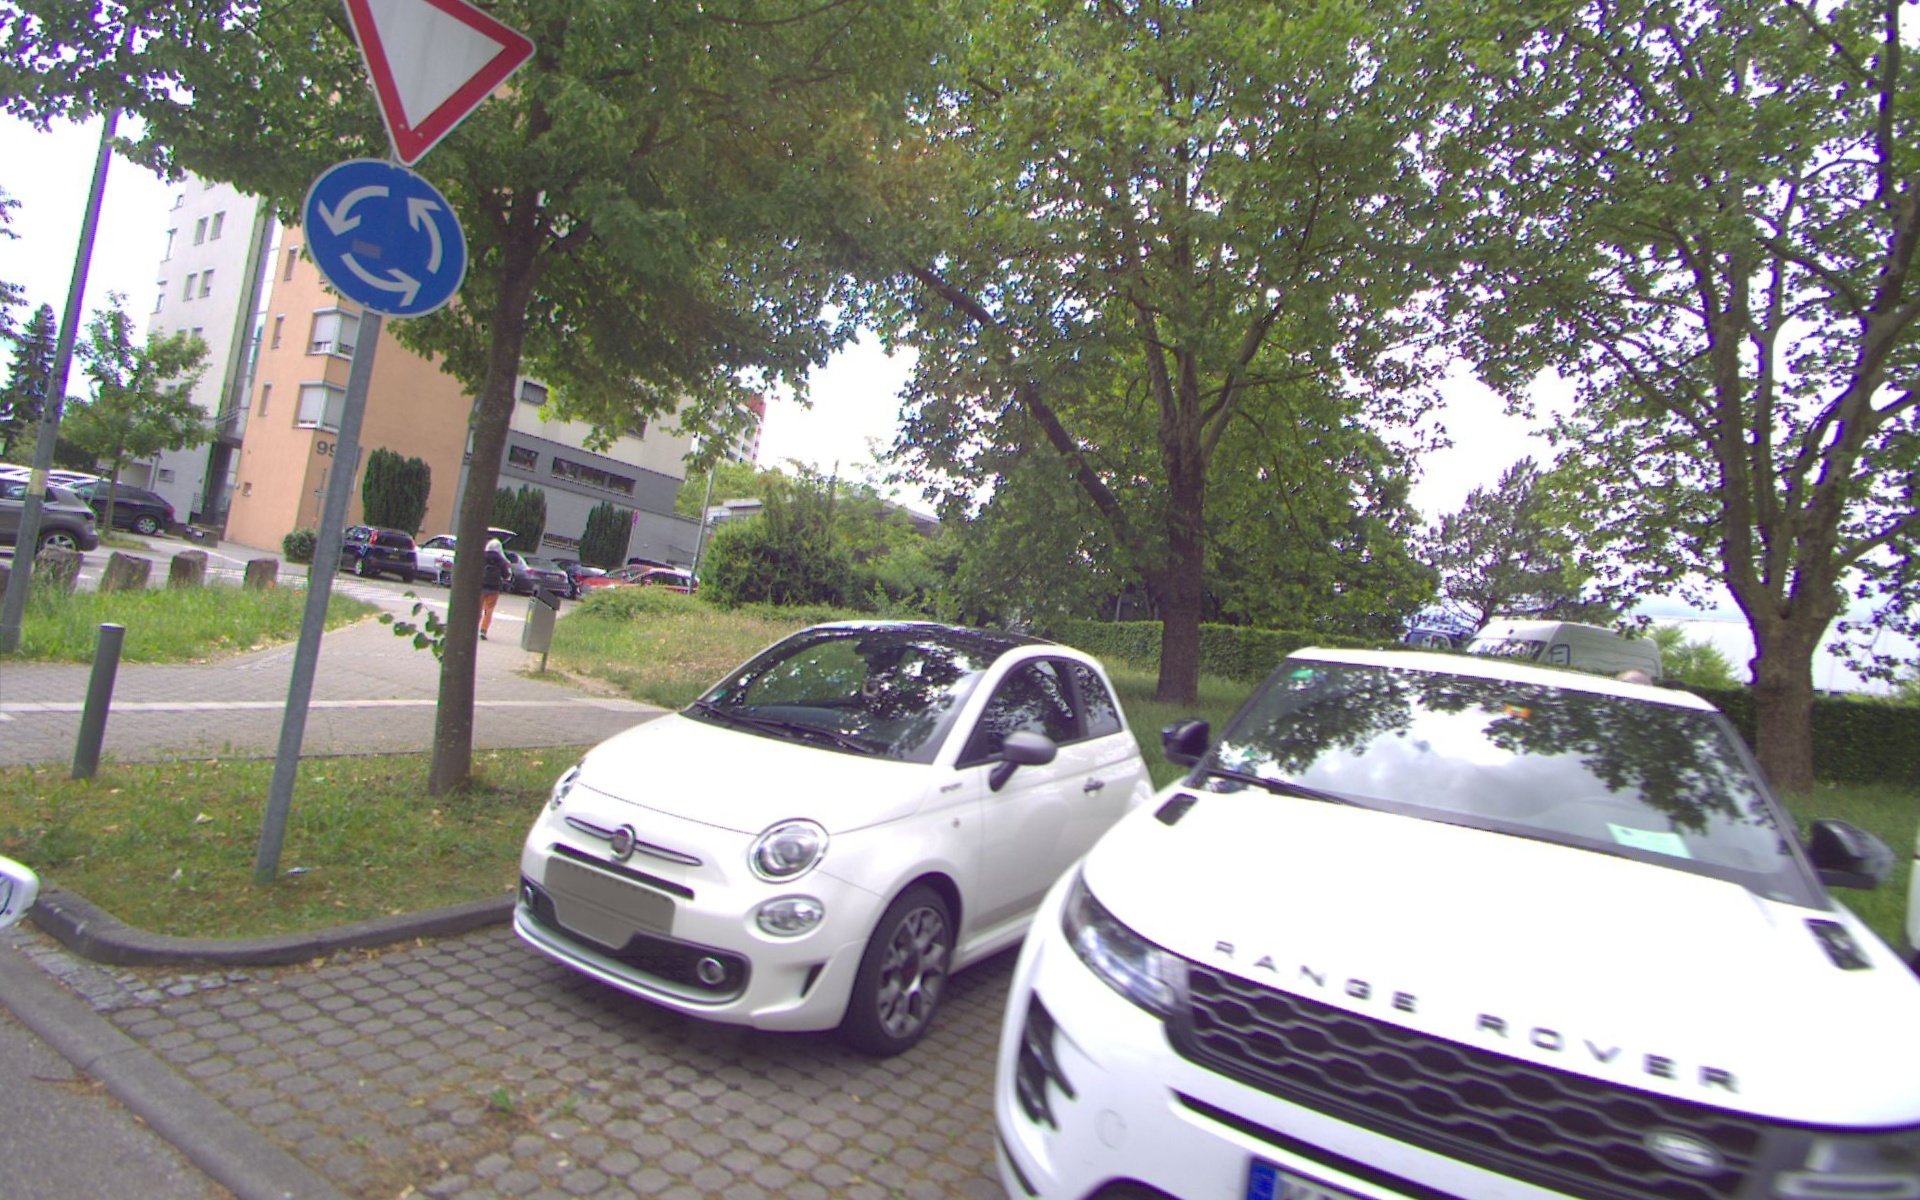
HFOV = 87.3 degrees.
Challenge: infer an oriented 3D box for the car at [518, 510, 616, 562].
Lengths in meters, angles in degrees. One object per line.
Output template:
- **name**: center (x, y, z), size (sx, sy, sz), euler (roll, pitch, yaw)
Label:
- **car**: center (-14.777, -2.417, 37.747), size (3.720, 1.500, 1.636), euler (7, 0, 38)

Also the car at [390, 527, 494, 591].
- **car**: center (-17.430, -1.391, 33.797), size (3.720, 1.679, 1.568), euler (7, 0, 38)

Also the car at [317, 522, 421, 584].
- **car**: center (-18.395, -1.477, 31.285), size (3.473, 1.494, 1.500), euler (7, 0, 38)

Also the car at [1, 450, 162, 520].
- **car**: center (-32.143, -4.165, 36.886), size (1.668, 1.611, 4.120), euler (7, -3, 41)

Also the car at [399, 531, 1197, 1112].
- **car**: center (-0.333, 0.764, 4.730), size (1.709, 1.478, 3.520), euler (8, -2, 30)

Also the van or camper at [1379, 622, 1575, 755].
- **van or camper**: center (13.983, 2.374, 27.200), size (4.425, 2.829, 2.104), euler (10, -2, -23)

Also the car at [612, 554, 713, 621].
- **car**: center (-12.372, -0.532, 41.720), size (3.917, 2.185, 1.826), euler (7, -2, 38)

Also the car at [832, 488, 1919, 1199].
- **car**: center (1.561, 0.922, 3.393), size (1.709, 1.620, 4.163), euler (8, -3, 29)

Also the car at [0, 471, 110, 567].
- **car**: center (-19.298, -1.756, 19.479), size (1.697, 1.637, 3.996), euler (7, -1, 38)

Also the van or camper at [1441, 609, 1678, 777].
- **van or camper**: center (12.775, 1.979, 21.403), size (4.433, 2.829, 2.100), euler (10, -2, -28)

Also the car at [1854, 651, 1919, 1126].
- **car**: center (3.820, 1.067, 2.114), size (1.812, 1.853, 4.782), euler (7, -1, 31)

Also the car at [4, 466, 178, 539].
- **car**: center (-28.739, -3.185, 33.361), size (1.731, 1.534, 4.042), euler (7, -3, 41)

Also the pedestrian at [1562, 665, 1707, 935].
- **pedestrian**: center (4.683, 1.352, 7.039), size (0.583, 1.675, 0.872), euler (8, -2, 29)

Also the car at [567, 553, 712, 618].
- **car**: center (-10.882, -0.451, 34.493), size (1.946, 1.665, 4.530), euler (8, 0, 29)

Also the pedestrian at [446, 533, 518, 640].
- **pedestrian**: center (-8.158, -0.239, 17.178), size (0.829, 1.684, 0.612), euler (7, -2, 41)

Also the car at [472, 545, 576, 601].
- **car**: center (-15.354, -0.969, 35.355), size (3.720, 1.500, 1.636), euler (7, 0, 38)

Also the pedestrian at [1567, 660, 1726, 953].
- **pedestrian**: center (4.360, 1.277, 6.443), size (0.590, 1.675, 0.690), euler (8, -2, 29)

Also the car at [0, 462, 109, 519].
- **car**: center (-36.235, -4.362, 39.529), size (1.733, 1.534, 3.979), euler (7, -3, 42)
